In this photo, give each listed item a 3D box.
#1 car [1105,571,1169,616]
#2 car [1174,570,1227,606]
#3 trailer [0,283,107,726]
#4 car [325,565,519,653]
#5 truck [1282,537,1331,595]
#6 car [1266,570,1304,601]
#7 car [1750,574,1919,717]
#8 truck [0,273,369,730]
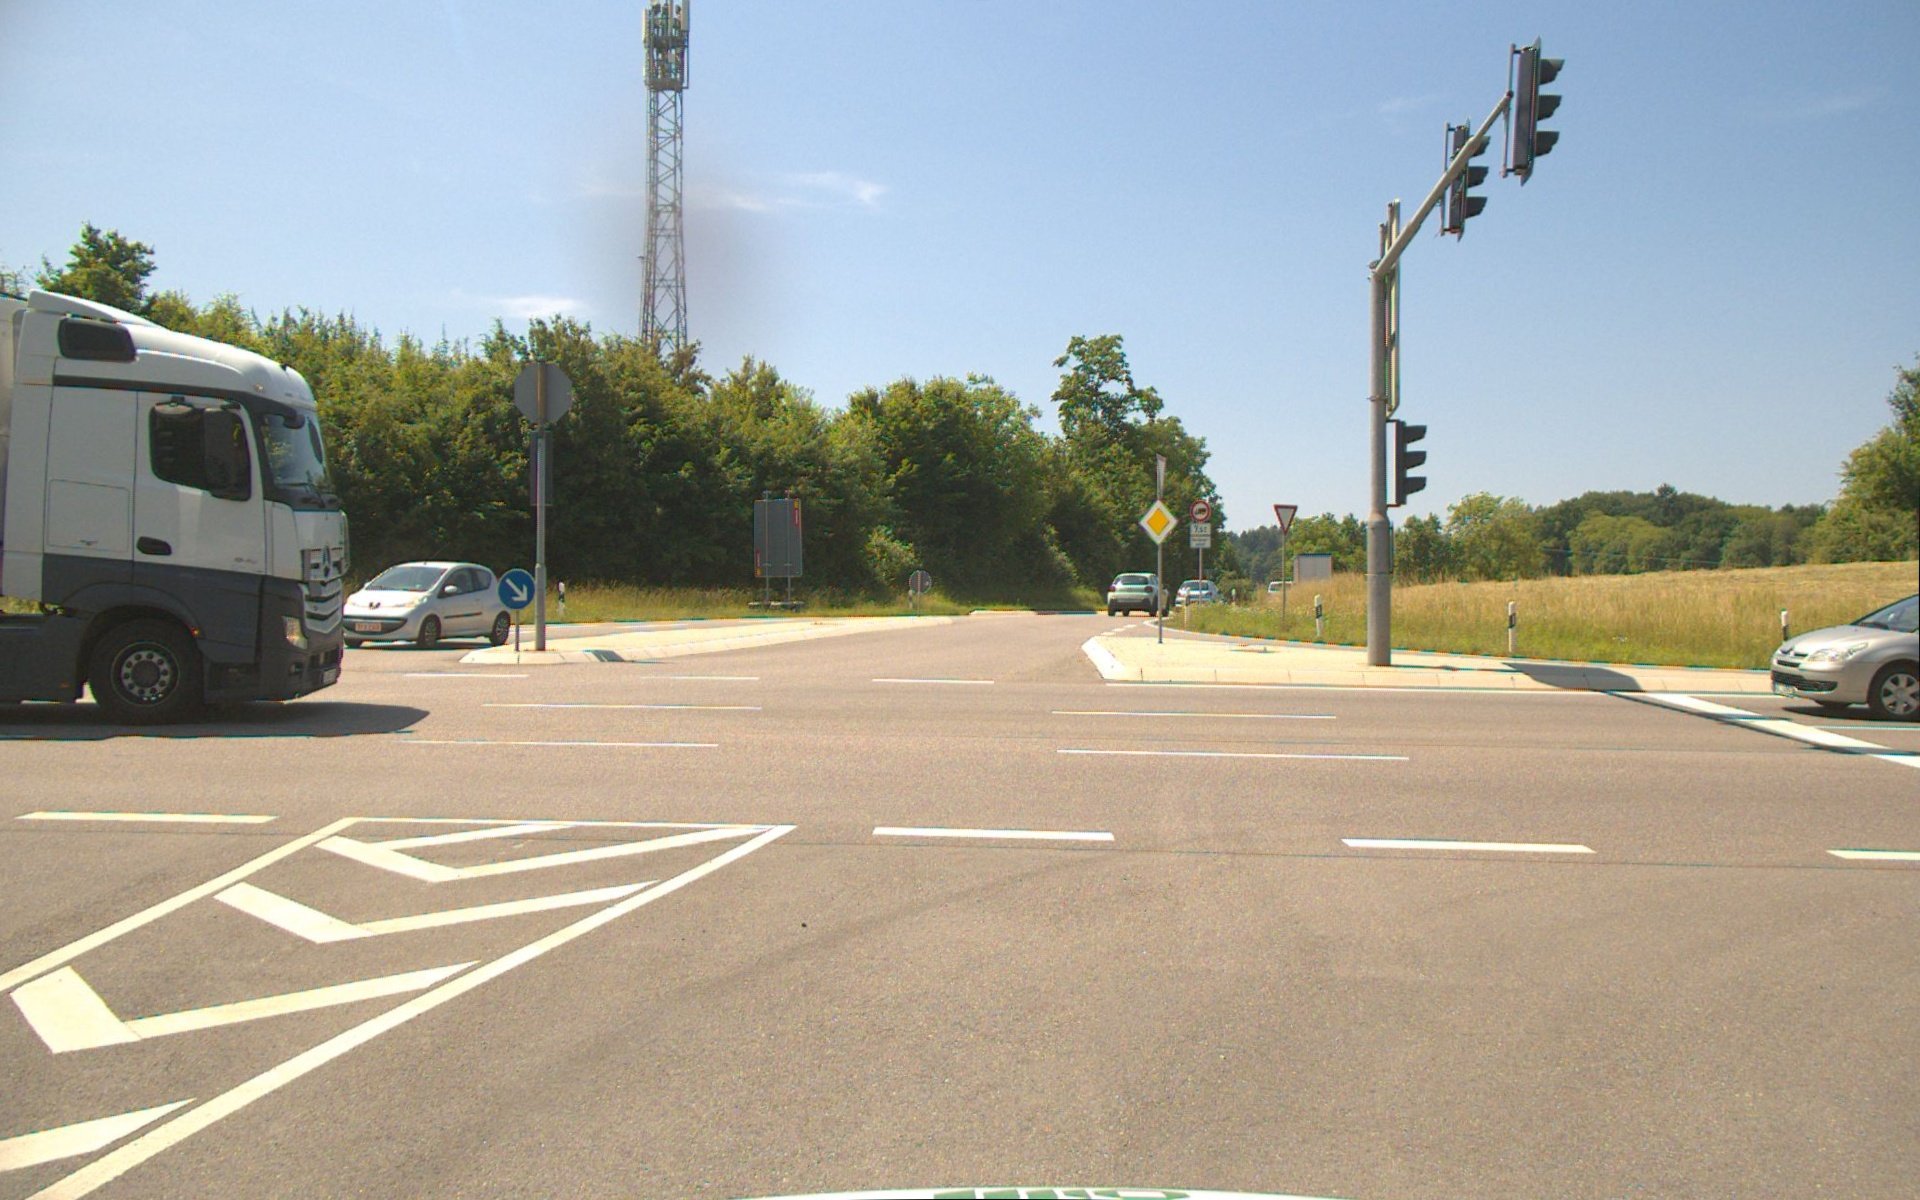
[{"bbox_3d":[6.248,-0.267,58.118,1.692,1.428,3.991,2,2,14],"label":"car"},{"bbox_3d":[10.332,-0.536,70.973,1.774,1.437,3.787,1,2,16],"label":"car"},{"bbox_3d":[-15.695,-0.940,15.673,13.520,4.106,2.659,0,1,-4],"label":"trailer"},{"bbox_3d":[-9.304,0.108,28.878,1.532,1.394,3.534,1,2,15],"label":"car"},{"bbox_3d":[27.214,-2.612,130.476,3.059,4.245,16.701,0,1,9],"label":"truck"},{"bbox_3d":[18.690,-0.845,95.026,1.774,1.653,4.063,0,2,17],"label":"car"},{"bbox_3d":[11.487,0.507,18.881,4.069,1.495,1.731,1,2,4],"label":"car"},{"bbox_3d":[-9.311,-0.919,16.169,6.136,4.106,2.659,0,1,-4],"label":"truck"}]
